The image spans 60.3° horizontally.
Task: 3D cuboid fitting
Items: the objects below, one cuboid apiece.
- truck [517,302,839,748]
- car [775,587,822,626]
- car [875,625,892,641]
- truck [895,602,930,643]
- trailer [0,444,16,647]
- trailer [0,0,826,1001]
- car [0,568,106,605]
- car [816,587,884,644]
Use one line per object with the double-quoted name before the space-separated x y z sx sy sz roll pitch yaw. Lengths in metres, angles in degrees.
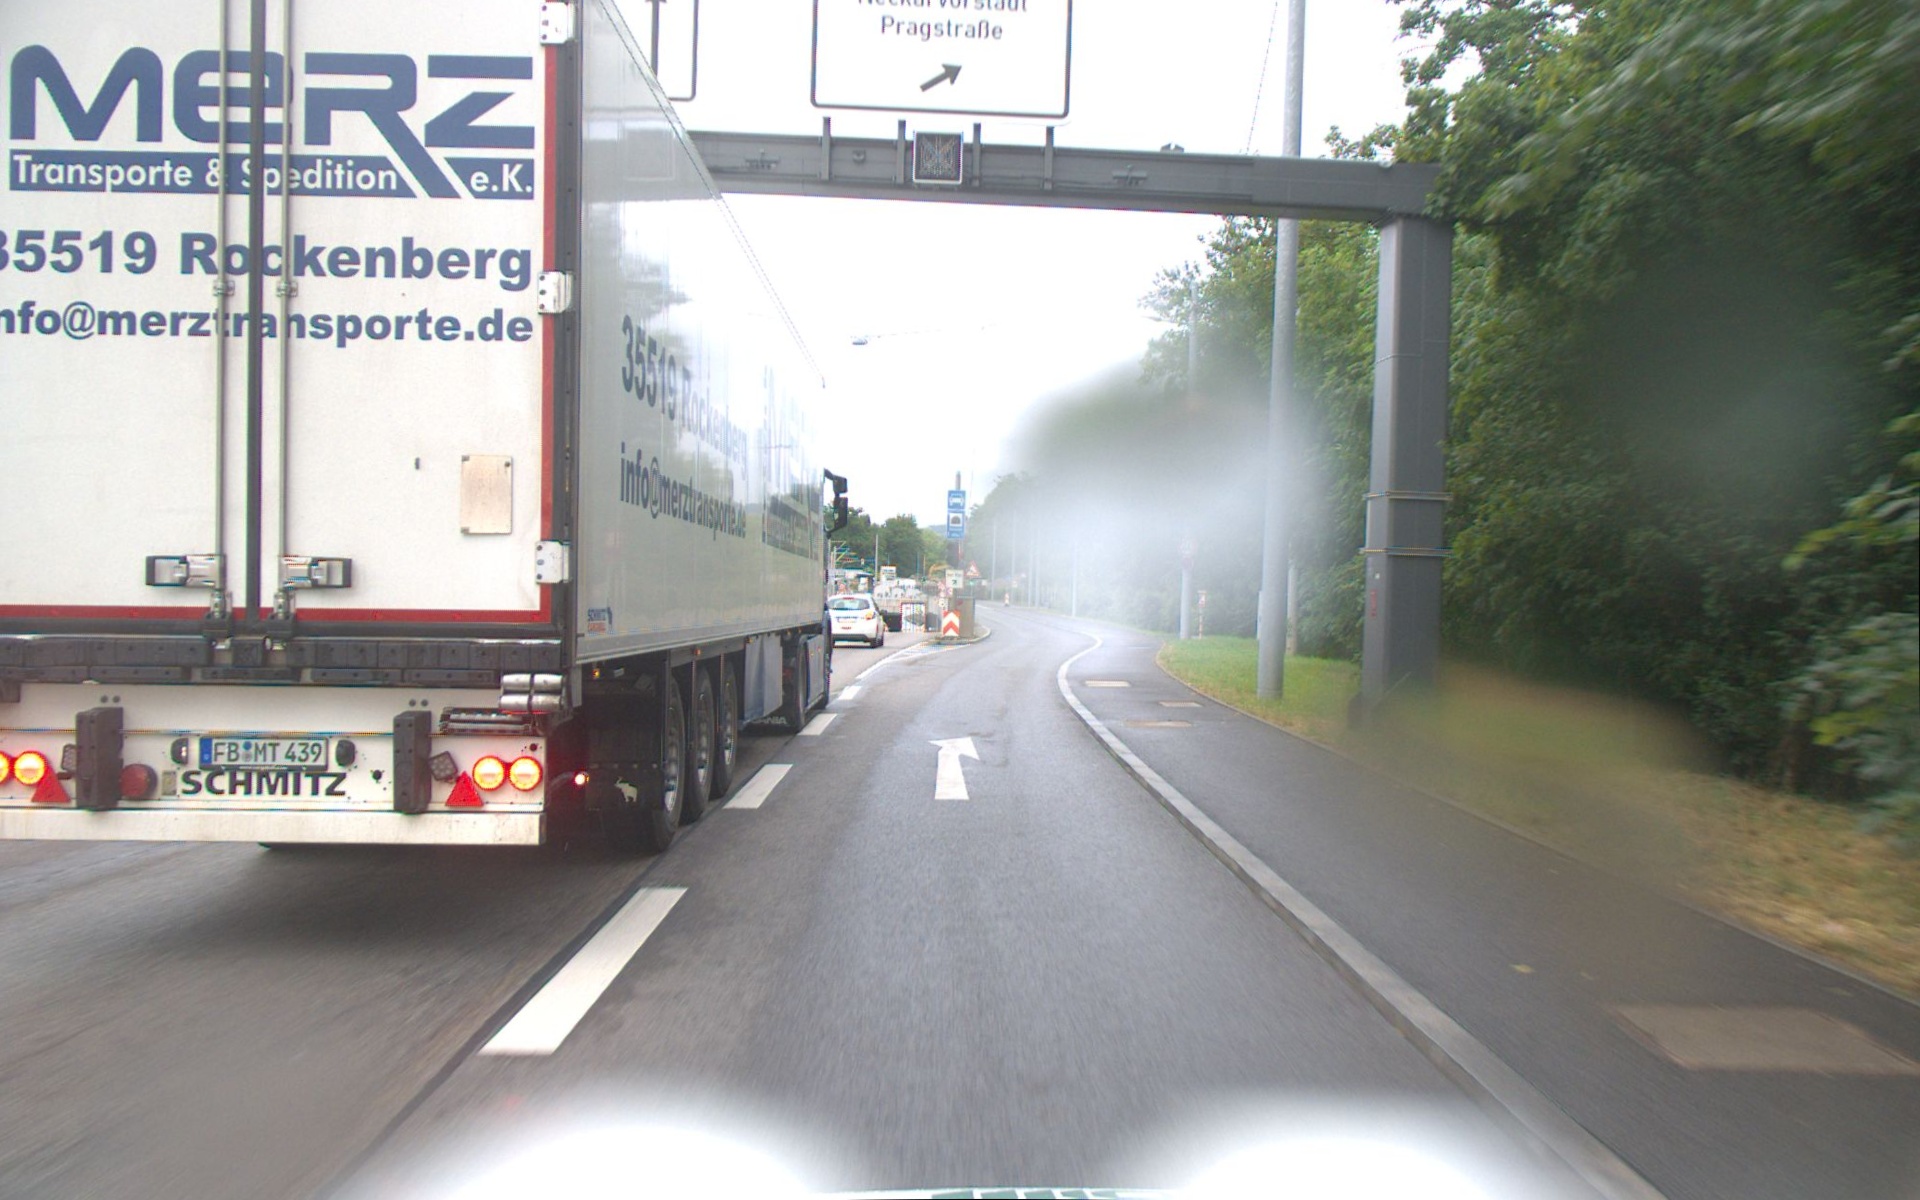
"truck" -2.938 -0.744 19.059 2.700 4.278 6.305 0 0 -1
"car" -6.794 0.265 69.849 1.647 1.471 4.000 1 2 -2
"car" -6.815 2.925 147.261 1.398 1.378 2.959 1 0 -2
"truck" -4.832 2.251 170.198 3.447 4.110 8.071 1 0 -1
"trailer" -20.731 -1.110 29.664 2.629 4.122 9.079 1 0 -2
"trailer" -2.865 -0.699 12.866 2.706 4.327 13.181 0 0 -1
"car" -34.795 -0.503 63.154 3.442 1.297 1.717 2 0 2
"car" -3.111 0.403 47.518 1.773 1.448 4.000 1 2 -2
